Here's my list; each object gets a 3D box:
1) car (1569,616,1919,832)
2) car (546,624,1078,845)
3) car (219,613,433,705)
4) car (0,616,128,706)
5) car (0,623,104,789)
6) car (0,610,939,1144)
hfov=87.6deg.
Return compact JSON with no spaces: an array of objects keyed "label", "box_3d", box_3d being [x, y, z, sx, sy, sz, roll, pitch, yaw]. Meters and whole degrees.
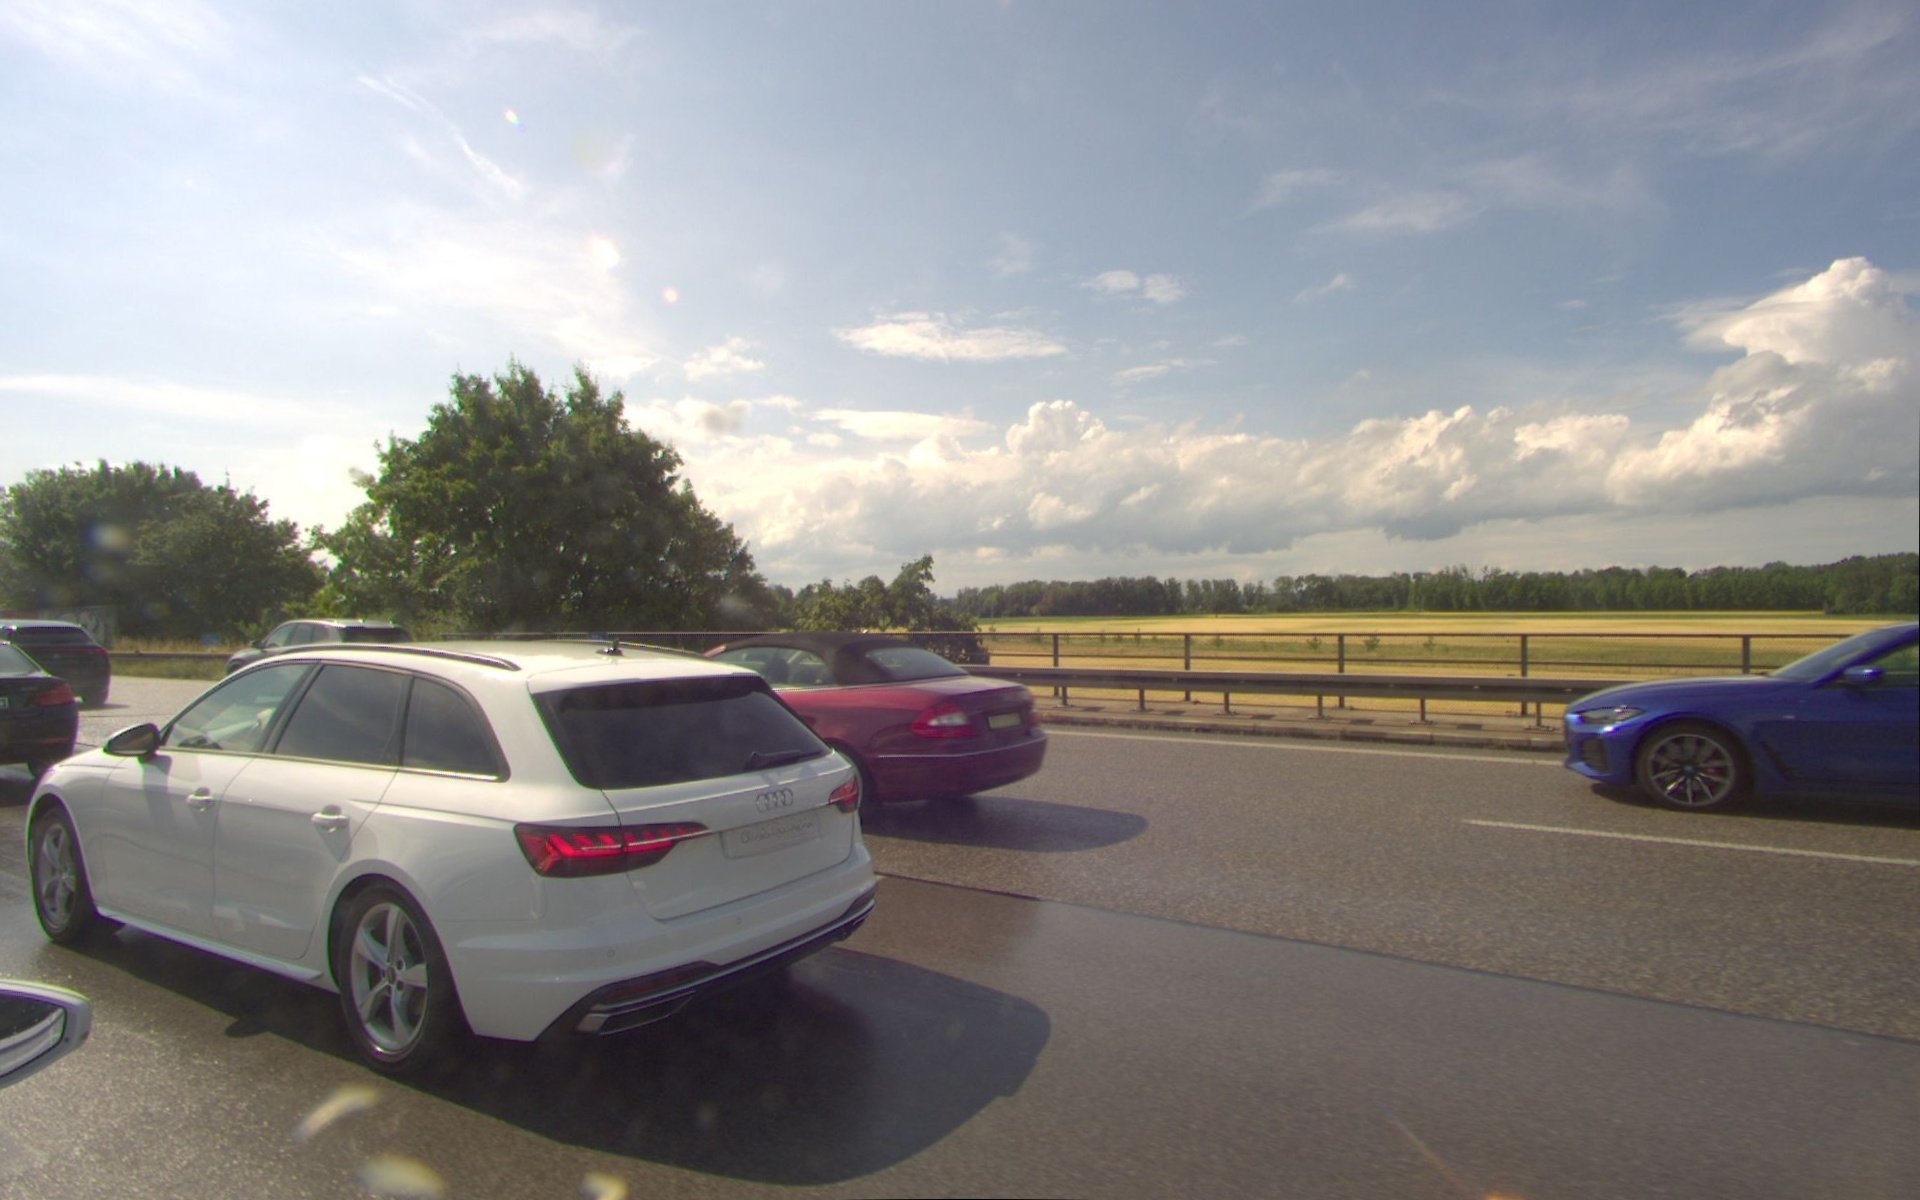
[{"label":"car","box_3d":[7.186,0.871,7.516,4.442,1.481,1.784,-1,-2,32]},{"label":"car","box_3d":[-1.384,0.926,8.468,4.448,1.428,1.748,-1,-2,34]},{"label":"car","box_3d":[-12.331,1.107,19.426,4.222,1.606,1.747,-1,-2,30]},{"label":"car","box_3d":[-18.515,1.131,19.716,4.587,1.601,1.990,-1,-1,33]},{"label":"car","box_3d":[-10.469,0.998,10.025,4.197,1.483,1.844,-1,-1,34]},{"label":"car","box_3d":[-2.461,0.856,4.650,4.444,1.443,1.826,-2,-4,30]}]
